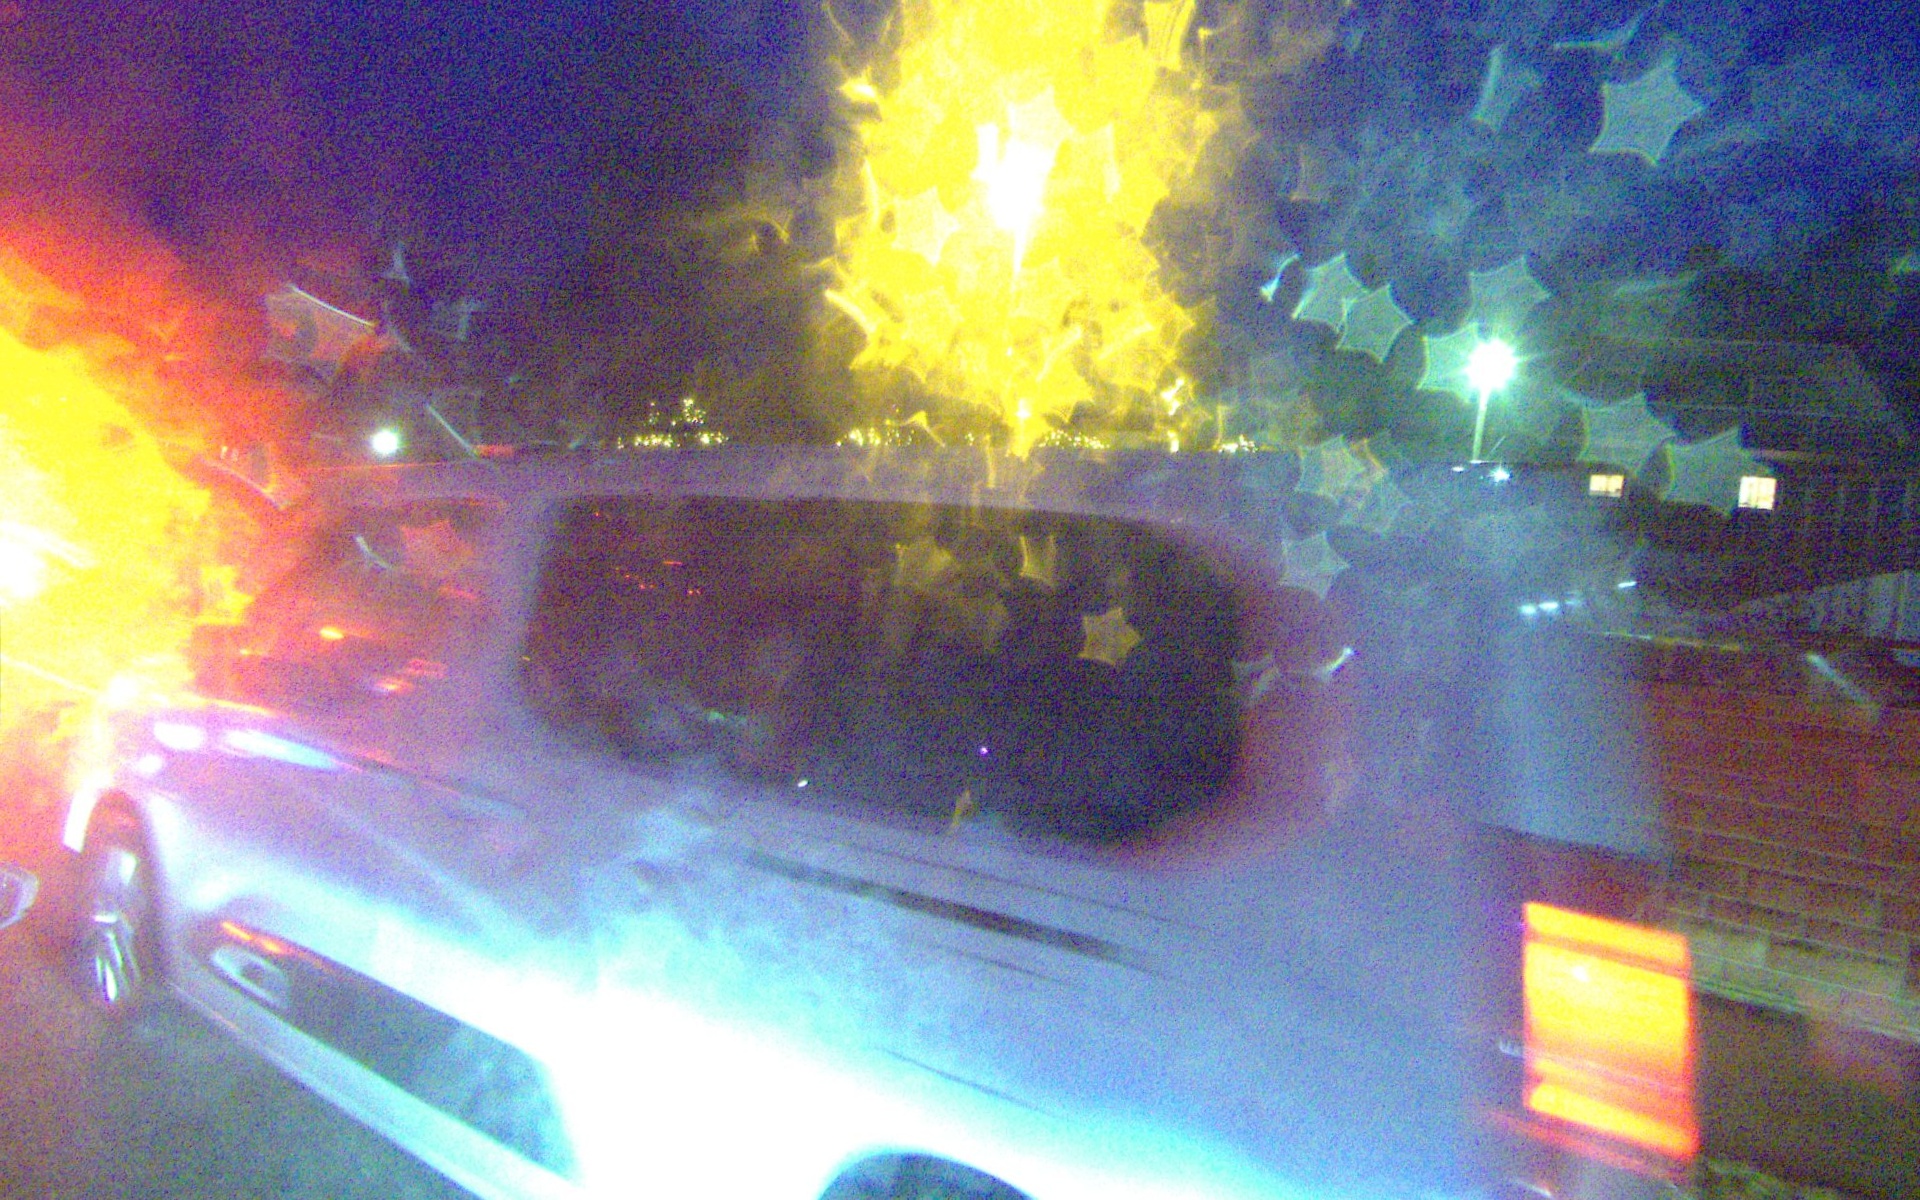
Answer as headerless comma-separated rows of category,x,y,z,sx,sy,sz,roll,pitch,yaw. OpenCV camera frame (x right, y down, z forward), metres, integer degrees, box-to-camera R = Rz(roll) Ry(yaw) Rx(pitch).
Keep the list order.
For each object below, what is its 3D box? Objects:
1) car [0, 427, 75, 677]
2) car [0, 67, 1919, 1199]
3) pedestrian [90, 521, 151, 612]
car,-10.010,-0.635,8.959,3.934,2.070,1.972,6,-2,32
car,-0.595,0.365,2.793,4.269,1.886,1.855,6,-2,32
pedestrian,-16.825,-0.658,20.157,0.532,1.721,0.624,7,-1,29
